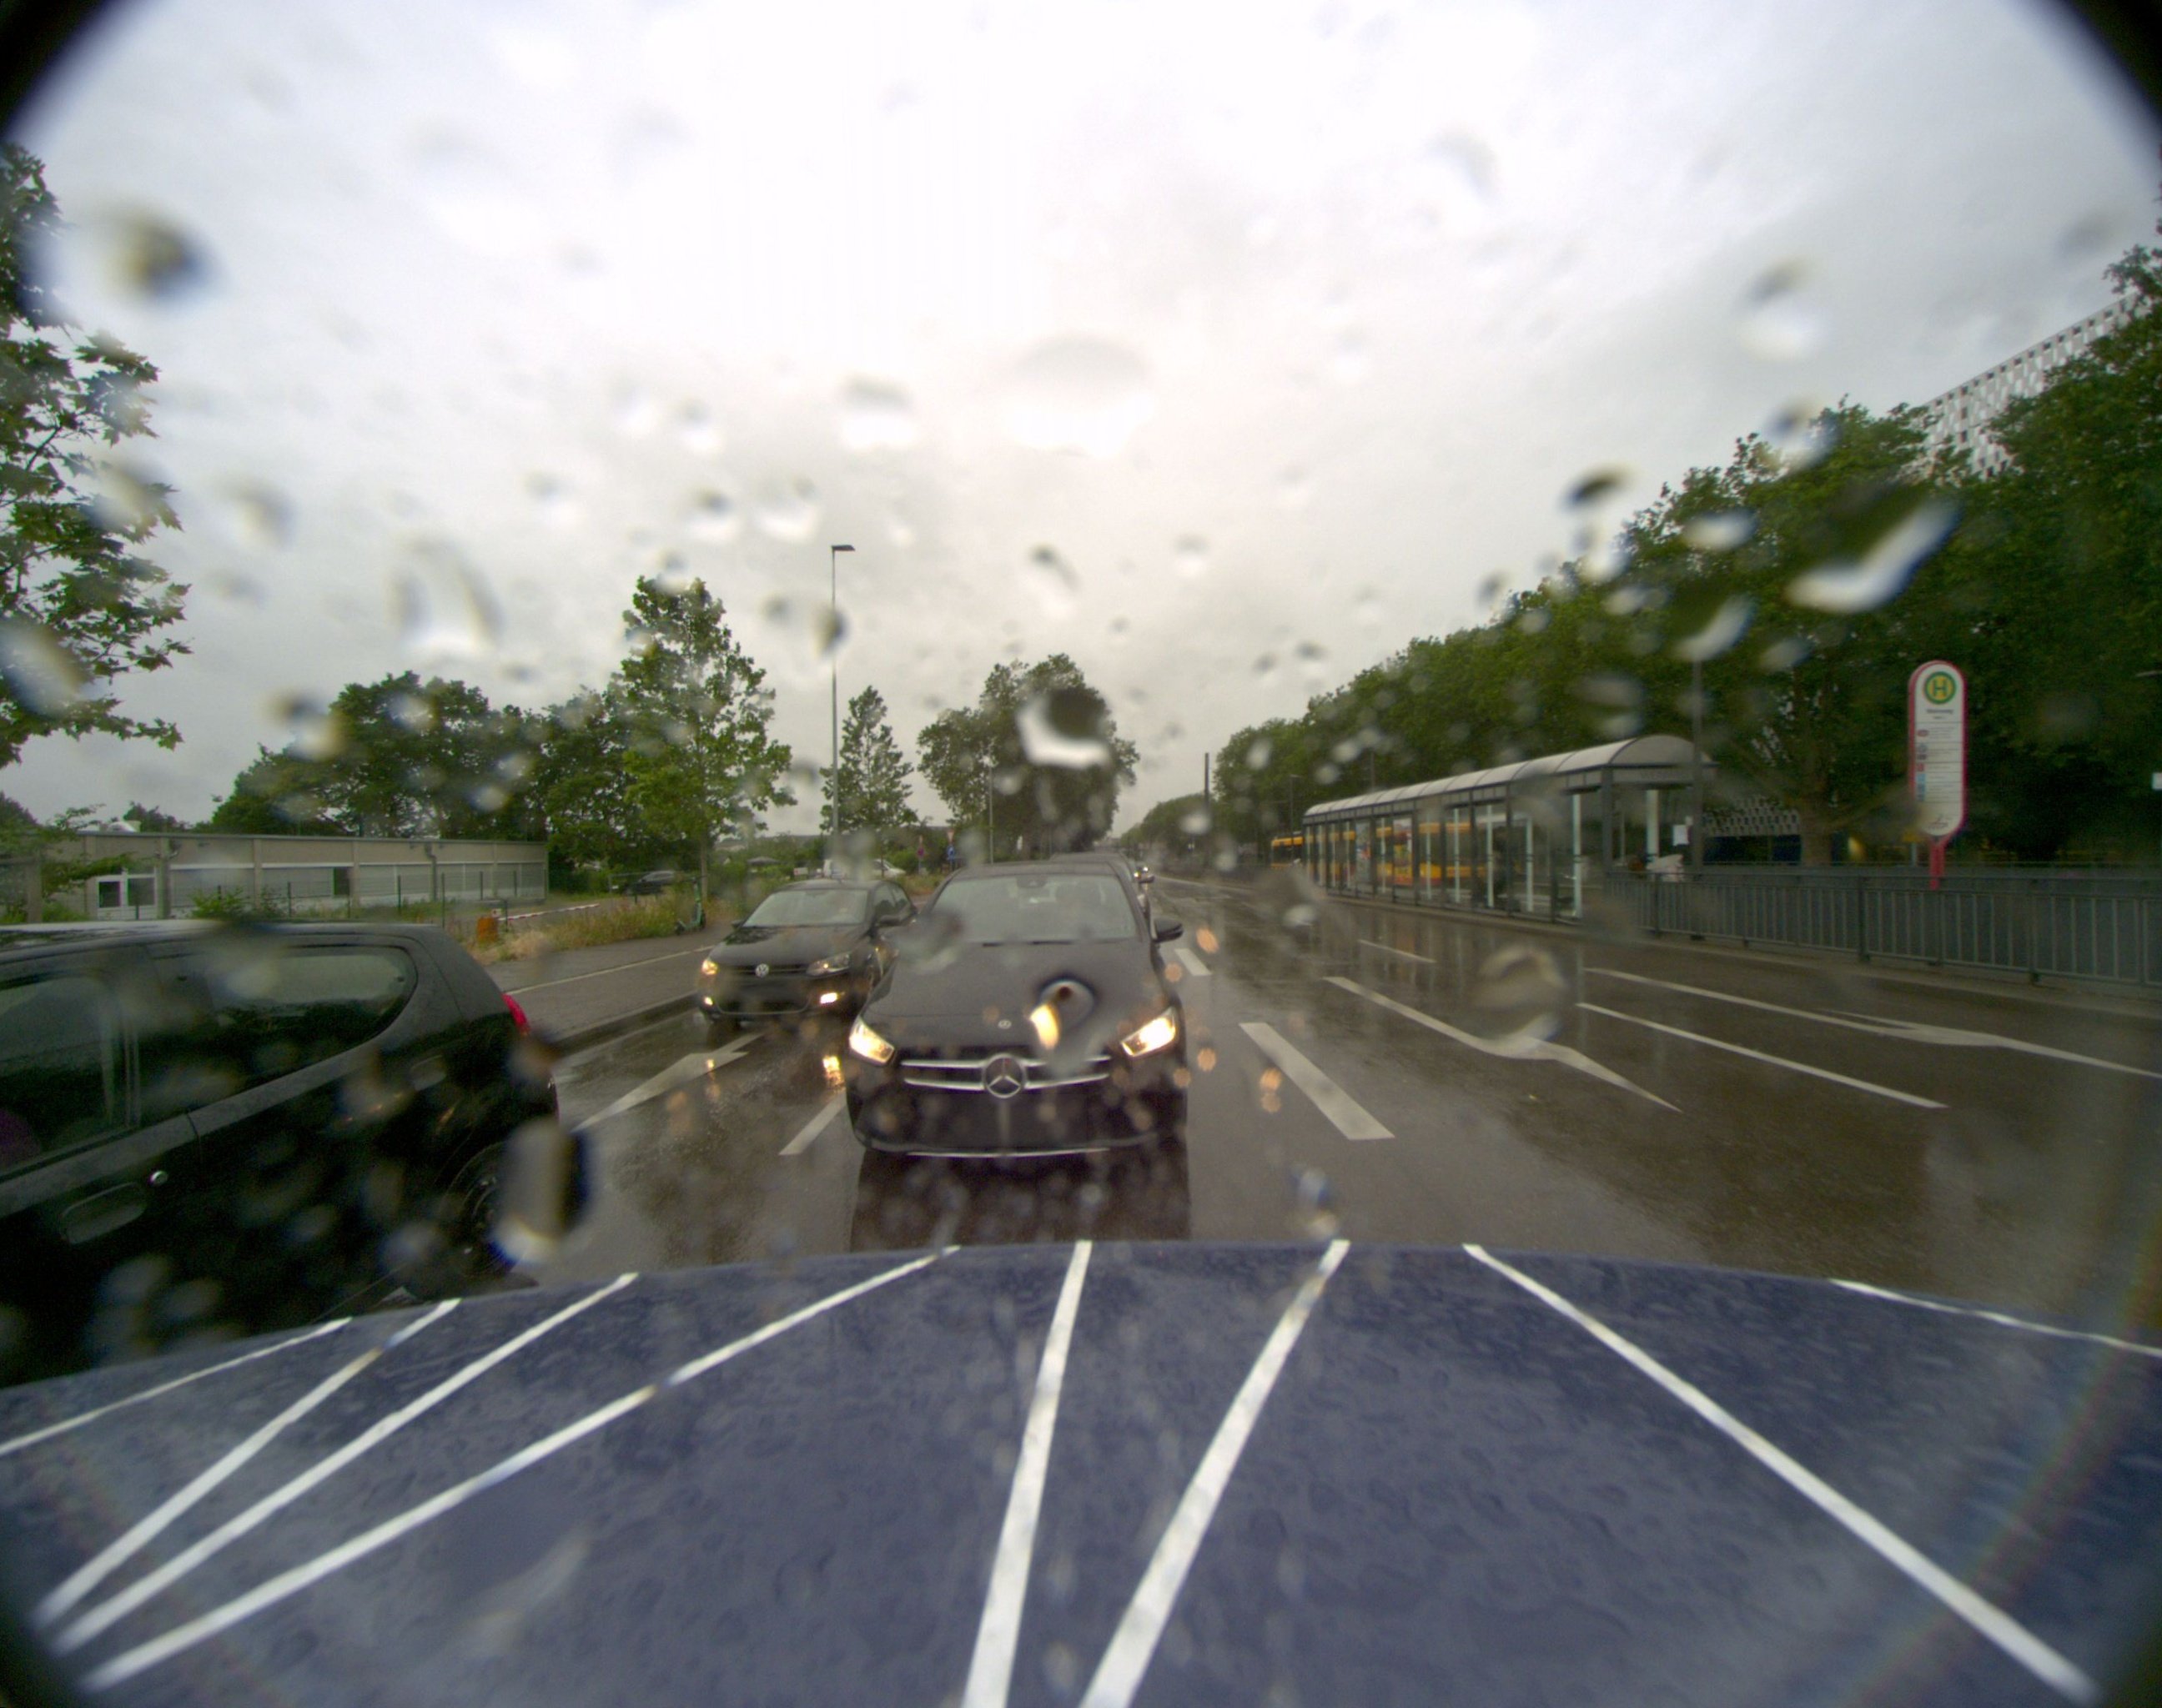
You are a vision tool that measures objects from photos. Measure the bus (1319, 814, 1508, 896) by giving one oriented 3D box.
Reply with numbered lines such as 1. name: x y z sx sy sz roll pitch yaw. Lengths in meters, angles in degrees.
1. bus: 16.140 -0.035 39.002 2.938 3.310 15.060 -2 1 0

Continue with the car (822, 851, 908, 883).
1. car: -13.544 0.812 47.828 4.759 1.640 1.999 -4 2 -2

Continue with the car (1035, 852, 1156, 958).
1. car: 0.196 0.718 12.458 1.633 1.420 3.624 -2 0 0

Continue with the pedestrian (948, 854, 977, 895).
1. pedestrian: -5.197 0.901 33.376 1.082 1.746 0.969 0 1 0

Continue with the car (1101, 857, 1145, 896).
1. car: 1.924 1.020 36.100 1.794 1.597 3.999 -2 1 0

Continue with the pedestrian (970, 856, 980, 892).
1. pedestrian: -4.963 0.943 35.622 0.401 1.652 0.441 1 1 0

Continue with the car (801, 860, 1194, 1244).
1. car: -0.342 0.907 5.471 1.690 1.578 4.163 -2 1 1

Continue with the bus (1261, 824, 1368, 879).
1. bus: 16.102 -0.230 54.111 2.938 3.310 15.061 -2 1 0

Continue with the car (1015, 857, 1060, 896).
1. car: -1.912 0.957 34.357 1.698 1.565 3.813 -2 1 1

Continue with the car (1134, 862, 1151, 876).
1. car: 7.066 1.701 87.422 1.766 1.390 4.645 -2 0 2

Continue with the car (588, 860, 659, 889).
1. car: -33.976 1.508 56.527 3.996 2.002 2.000 -2 1 2

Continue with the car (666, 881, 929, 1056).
1. car: -2.948 1.114 8.756 1.633 1.420 3.624 -2 0 0

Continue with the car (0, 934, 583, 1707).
1. car: -2.989 1.076 1.458 1.633 1.420 3.624 -2 0 0

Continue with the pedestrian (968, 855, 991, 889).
1. pedestrian: -5.180 0.891 38.719 1.025 1.698 0.891 1 1 0

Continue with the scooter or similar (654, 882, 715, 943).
1. scooter or similar: -8.219 1.178 15.819 0.381 1.123 1.777 0 1 -1
